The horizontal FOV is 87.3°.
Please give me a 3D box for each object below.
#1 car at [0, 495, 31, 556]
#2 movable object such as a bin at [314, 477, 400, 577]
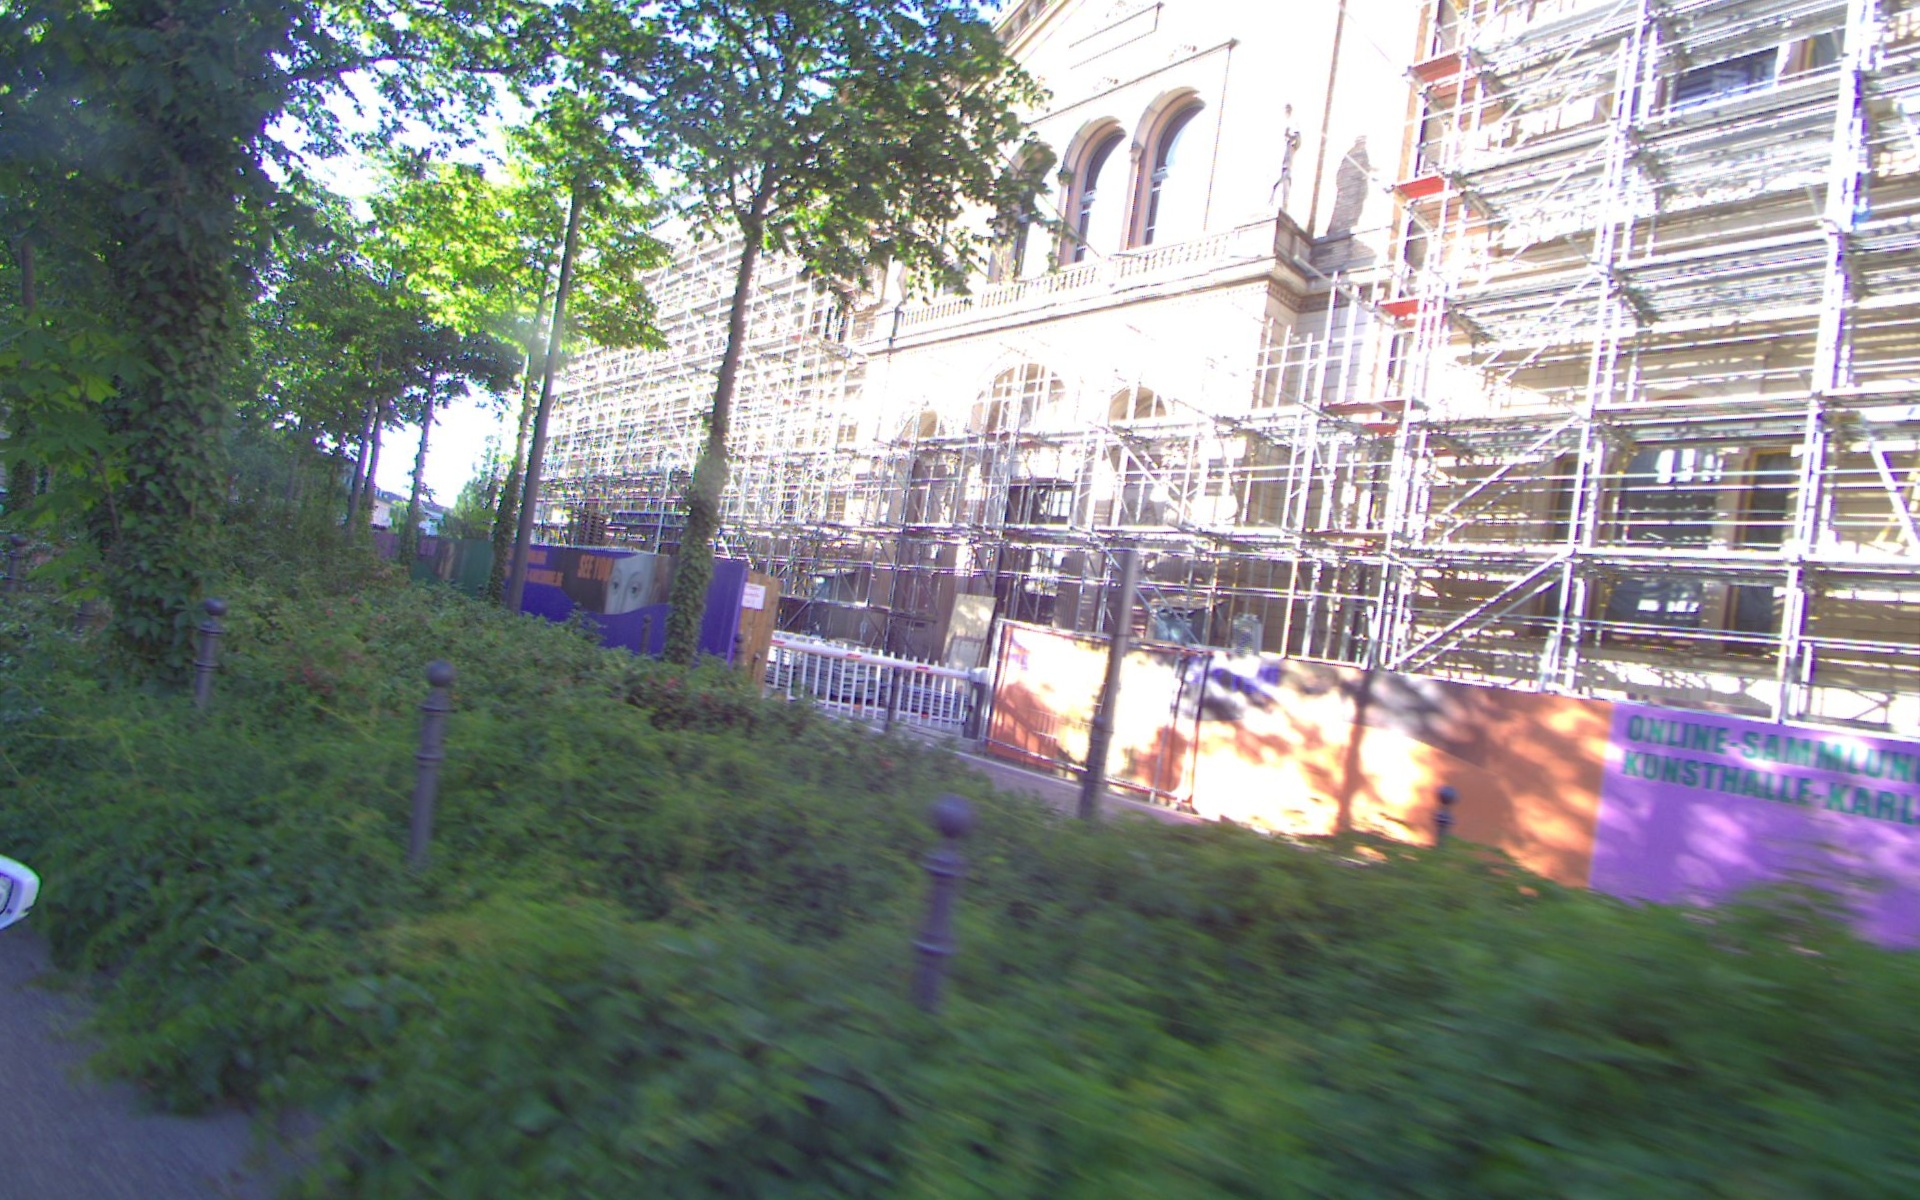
[{"bbox_3d":[-25.262,-2.043,25.557,1.833,1.479,4.017,11,-3,-36],"label":"car"},{"bbox_3d":[-32.973,-3.915,54.964,3.286,4.592,7.838,8,-1,-32],"label":"movable object such as a bin"}]
